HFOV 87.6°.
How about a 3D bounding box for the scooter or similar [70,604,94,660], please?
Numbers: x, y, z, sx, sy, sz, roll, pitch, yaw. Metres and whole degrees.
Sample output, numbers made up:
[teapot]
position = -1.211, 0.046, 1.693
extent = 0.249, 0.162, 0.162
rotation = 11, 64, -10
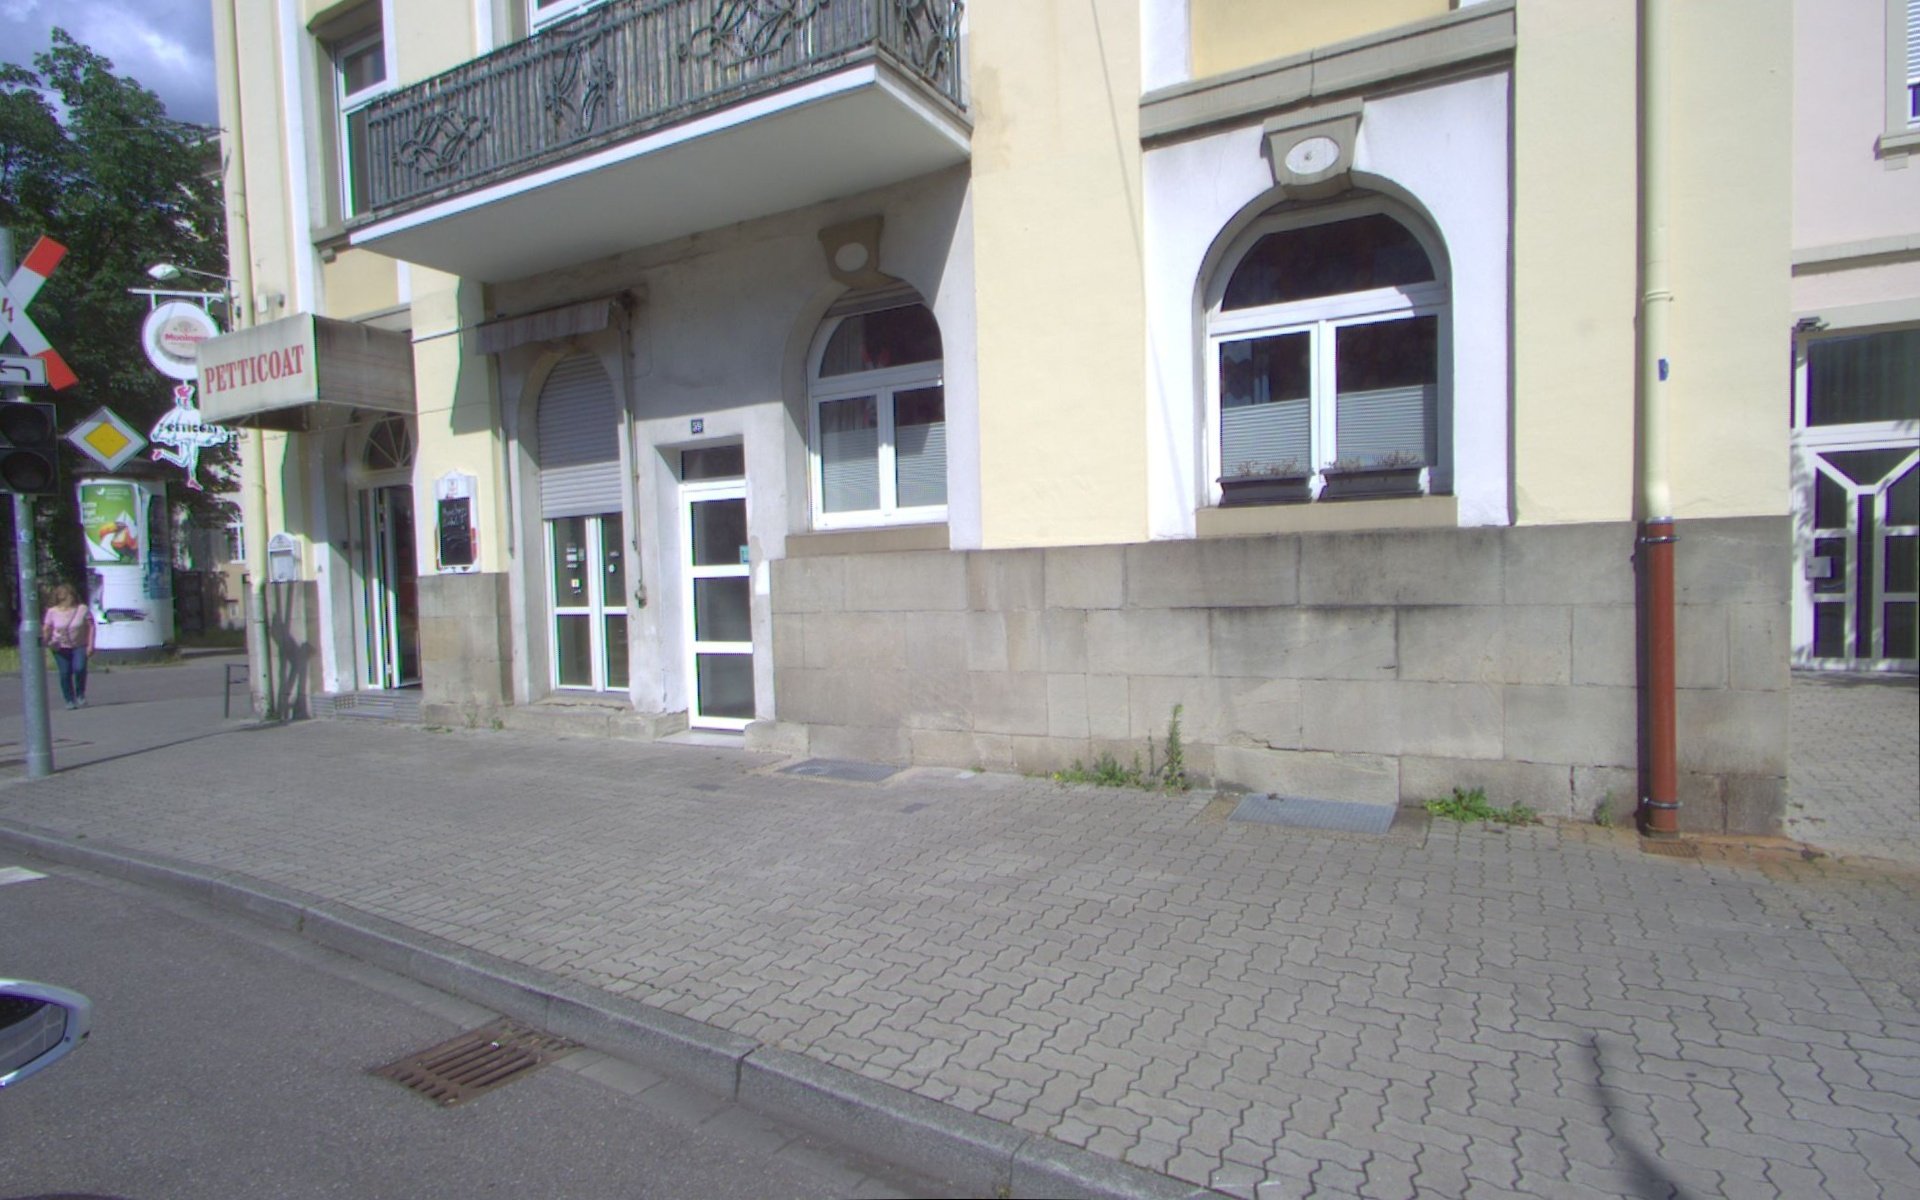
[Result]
[scooter or similar]
position = -19.482, 0.692, 22.211
extent = 0.303, 1.205, 1.151
rotation = -3, 3, -43

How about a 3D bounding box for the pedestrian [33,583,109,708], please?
[pedestrian]
position = -12.459, 0.611, 14.057
extent = 0.666, 1.671, 0.757
rotation = -4, 3, -38

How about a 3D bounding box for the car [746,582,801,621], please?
[car]
position = -7.491, 0.045, 40.088
extent = 1.363, 1.476, 3.253
rotation = -2, 1, -25
